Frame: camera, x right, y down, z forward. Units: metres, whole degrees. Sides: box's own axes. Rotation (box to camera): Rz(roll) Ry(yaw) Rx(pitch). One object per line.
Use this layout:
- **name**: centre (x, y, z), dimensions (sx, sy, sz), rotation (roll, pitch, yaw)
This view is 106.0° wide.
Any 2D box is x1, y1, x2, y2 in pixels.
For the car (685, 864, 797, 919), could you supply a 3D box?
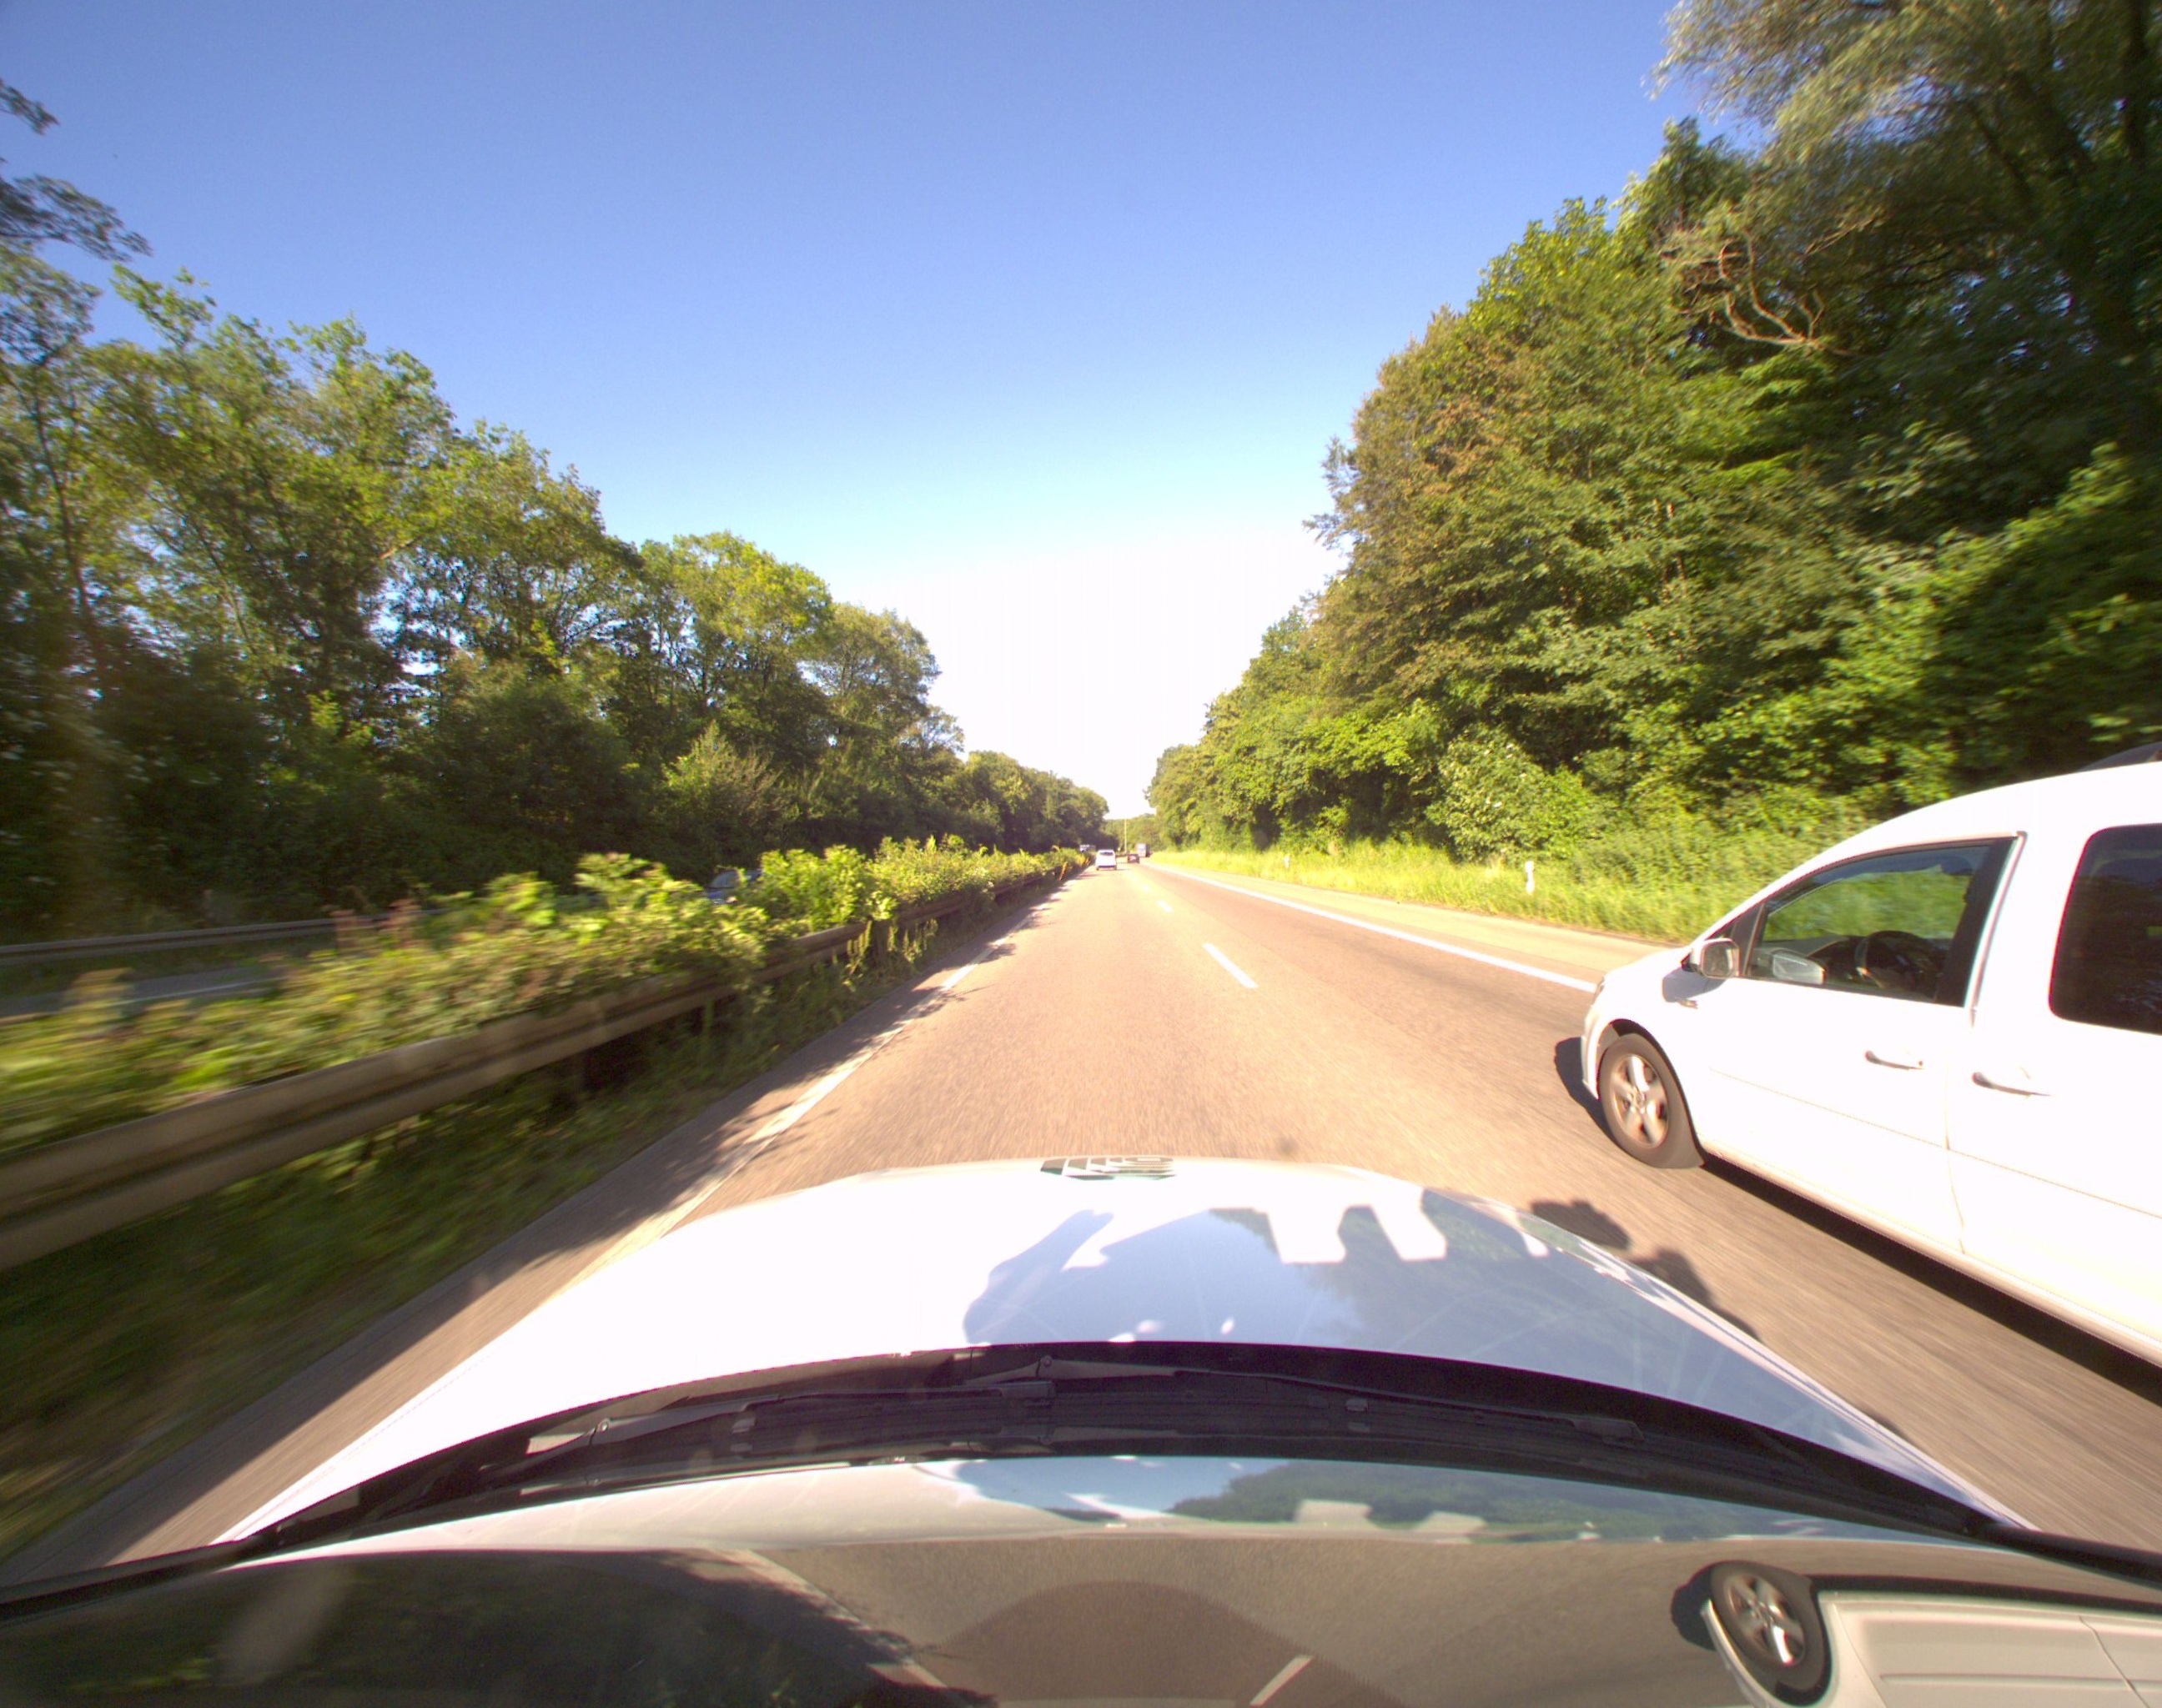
- **car**: centre (-10.904, 1.151, 26.426), dimensions (1.840, 1.574, 4.002), rotation (-1, 0, 2)

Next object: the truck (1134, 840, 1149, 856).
- **truck**: centre (17.386, -1.659, 232.779), dimensions (3.714, 4.343, 9.323), rotation (-1, 0, 7)

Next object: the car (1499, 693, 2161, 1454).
- **car**: centre (3.487, 0.518, 2.832), dimensions (1.792, 1.813, 4.589), rotation (-1, 0, 1)

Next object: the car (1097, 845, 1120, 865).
- **car**: centre (2.434, 0.083, 73.246), dimensions (1.944, 1.782, 4.589), rotation (-1, 0, 1)

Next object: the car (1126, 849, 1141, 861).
- **car**: centre (7.751, 0.139, 120.324), dimensions (1.944, 1.782, 4.589), rotation (-1, 0, 1)
